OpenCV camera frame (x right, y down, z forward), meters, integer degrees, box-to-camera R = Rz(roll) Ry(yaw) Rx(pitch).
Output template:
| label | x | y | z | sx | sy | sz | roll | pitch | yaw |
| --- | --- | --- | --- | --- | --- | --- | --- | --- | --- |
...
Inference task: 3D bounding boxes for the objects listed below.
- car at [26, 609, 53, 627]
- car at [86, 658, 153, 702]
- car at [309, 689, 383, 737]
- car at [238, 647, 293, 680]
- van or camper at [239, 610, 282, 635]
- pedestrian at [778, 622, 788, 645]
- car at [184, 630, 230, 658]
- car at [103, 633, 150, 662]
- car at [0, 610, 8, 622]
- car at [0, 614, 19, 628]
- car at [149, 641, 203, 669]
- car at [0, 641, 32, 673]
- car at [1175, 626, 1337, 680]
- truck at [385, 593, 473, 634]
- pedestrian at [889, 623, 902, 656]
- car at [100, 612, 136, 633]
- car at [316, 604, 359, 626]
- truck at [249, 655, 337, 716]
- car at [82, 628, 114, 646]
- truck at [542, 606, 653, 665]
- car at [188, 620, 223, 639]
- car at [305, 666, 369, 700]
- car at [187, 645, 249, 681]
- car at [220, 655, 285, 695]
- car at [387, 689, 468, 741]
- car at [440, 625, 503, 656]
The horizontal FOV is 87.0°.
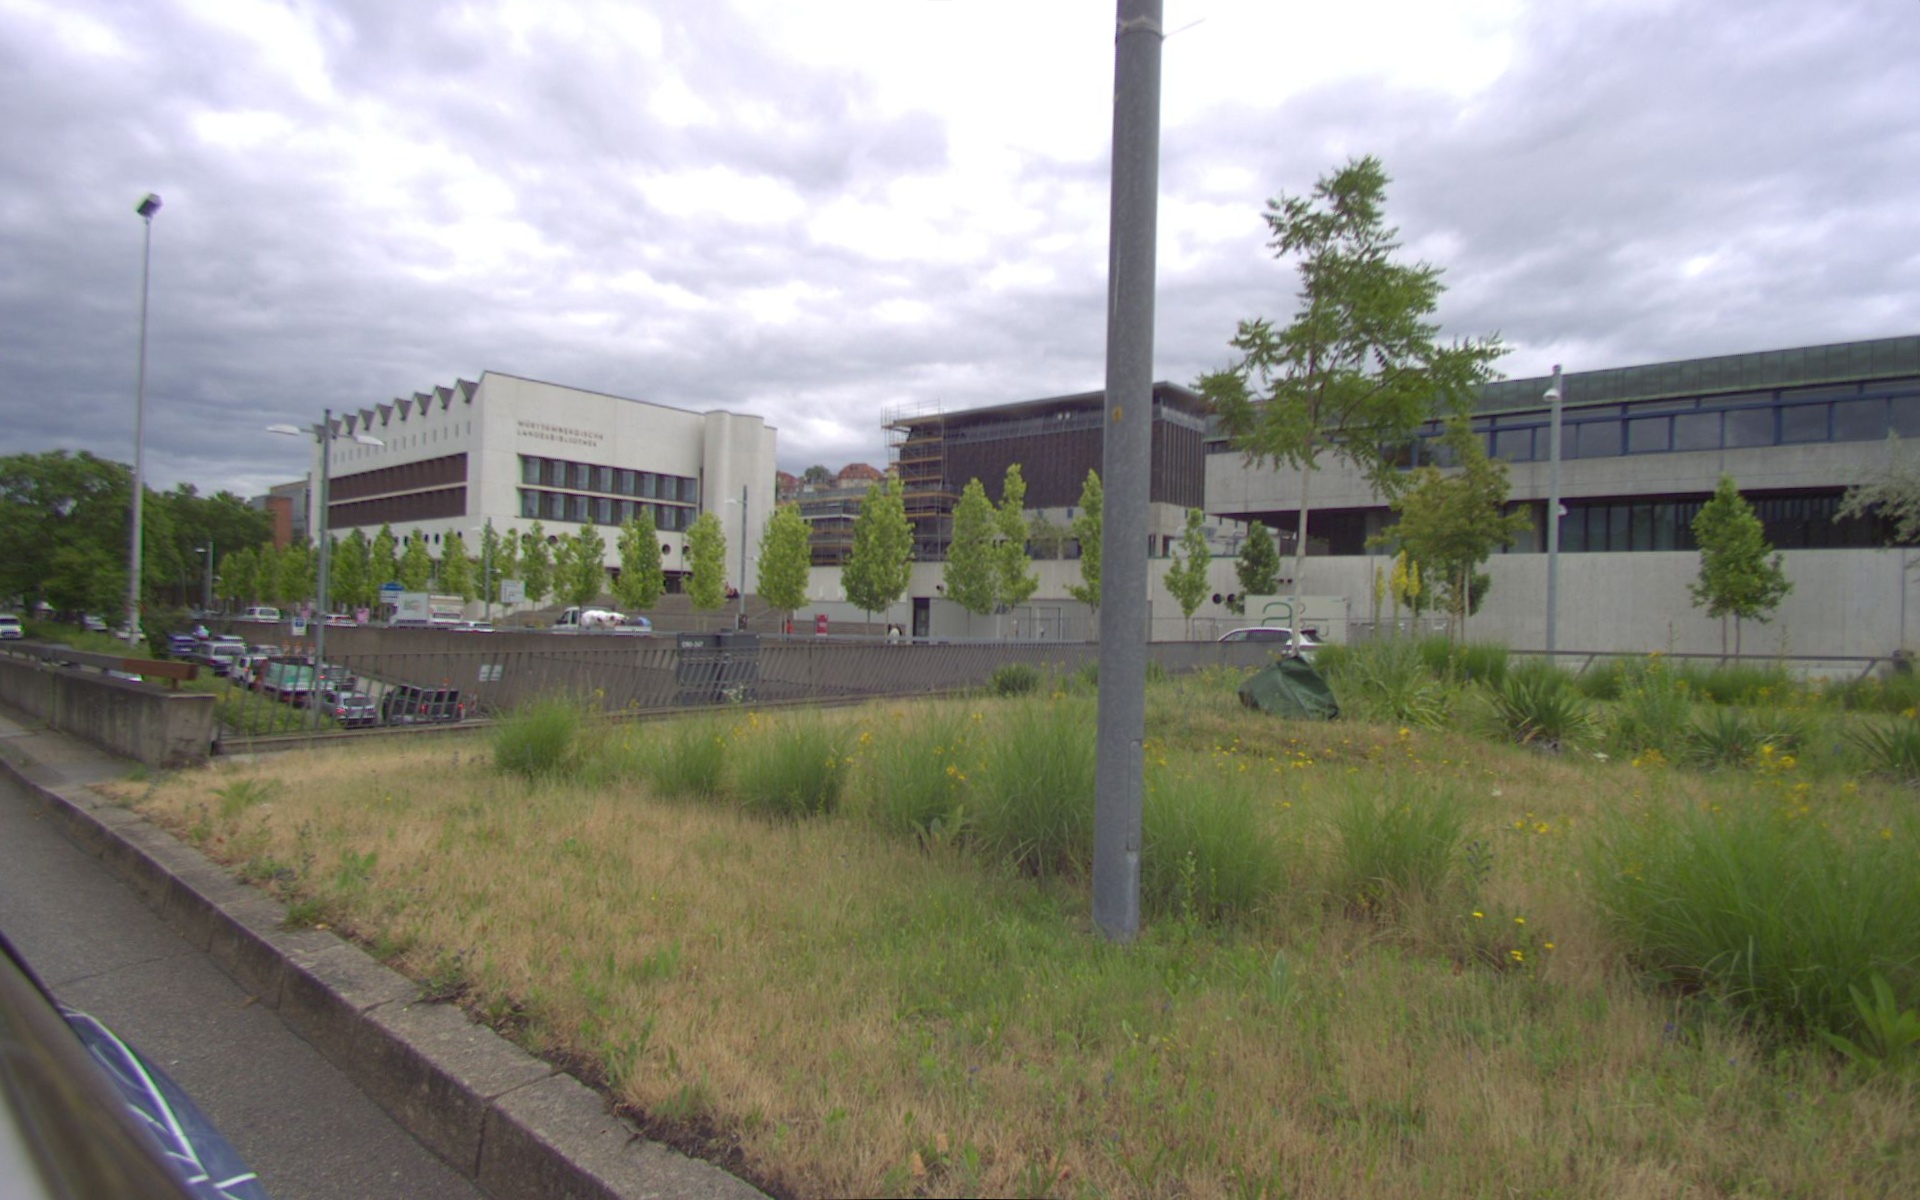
| label | x | y | z | sx | sy | sz | roll | pitch | yaw |
| --- | --- | --- | --- | --- | --- | --- | --- | --- | --- |
| car | -111.226 | 2.155 | 122.269 | 3.998 | 2.029 | 1.973 | -1 | 0 | 41 |
| car | -42.162 | 3.979 | 50.767 | 3.998 | 2.029 | 1.972 | -2 | -3 | 42 |
| car | -27.982 | 5.081 | 46.074 | 3.925 | 1.829 | 1.771 | -1 | -1 | 41 |
| car | -45.638 | 4.176 | 66.463 | 3.998 | 2.029 | 1.972 | -1 | -5 | 41 |
| van or camper | -59.633 | 1.953 | 86.243 | 4.555 | 2.029 | 1.973 | -2 | -2 | 41 |
| pedestrian | -11.523 | 2.171 | 65.829 | 0.461 | 1.533 | 0.377 | -1 | -1 | 35 |
| car | -58.334 | 3.412 | 78.384 | 3.998 | 2.029 | 1.972 | -1 | -5 | 41 |
| car | -64.966 | 3.710 | 78.872 | 4.849 | 2.148 | 1.972 | -1 | -5 | 41 |
| car | -122.887 | 2.040 | 129.235 | 3.360 | 1.497 | 1.653 | -2 | -2 | 41 |
| car | -106.003 | 2.320 | 112.520 | 3.360 | 1.497 | 1.653 | -2 | -2 | 41 |
| car | -52.212 | 3.668 | 67.375 | 4.279 | 1.757 | 1.972 | -1 | -5 | 41 |
| car | -64.711 | 3.841 | 68.820 | 3.998 | 2.029 | 1.973 | -1 | -1 | 41 |
| car | 9.220 | 1.625 | 31.783 | 4.612 | 1.586 | 1.700 | -2 | -2 | 43 |
| truck | -38.940 | 1.057 | 74.138 | 7.246 | 2.809 | 3.199 | -2 | -2 | 39 |
| pedestrian | -3.105 | 1.883 | 48.465 | 0.461 | 1.533 | 0.424 | -1 | -1 | 35 |
| car | -80.754 | 2.149 | 97.036 | 4.653 | 2.029 | 1.973 | -2 | -2 | 41 |
| car | -47.007 | 1.169 | 76.371 | 4.269 | 1.586 | 1.700 | -2 | -2 | 43 |
| truck | -33.670 | 4.239 | 51.009 | 5.977 | 2.711 | 2.294 | -2 | -2 | 42 |
| car | -74.015 | 3.135 | 86.885 | 3.360 | 1.497 | 1.653 | -1 | -2 | 41 |
| truck | -18.913 | 1.837 | 52.547 | 7.077 | 2.838 | 2.437 | -2 | -2 | 43 |
| car | -74.576 | 2.950 | 99.997 | 3.998 | 1.830 | 1.973 | -2 | -2 | 41 |
| car | -34.827 | 4.594 | 56.547 | 3.998 | 1.564 | 1.973 | -1 | 0 | 41 |
| car | -44.729 | 3.797 | 60.980 | 4.330 | 2.029 | 1.972 | -1 | -5 | 41 |
| car | -39.246 | 4.159 | 56.132 | 3.998 | 2.029 | 1.972 | -1 | -5 | 41 |
| car | -24.912 | 5.318 | 47.326 | 4.227 | 1.970 | 1.973 | -1 | 0 | 41 |
| car | -30.088 | 2.466 | 62.276 | 4.256 | 1.830 | 1.973 | -2 | -2 | 41 |
